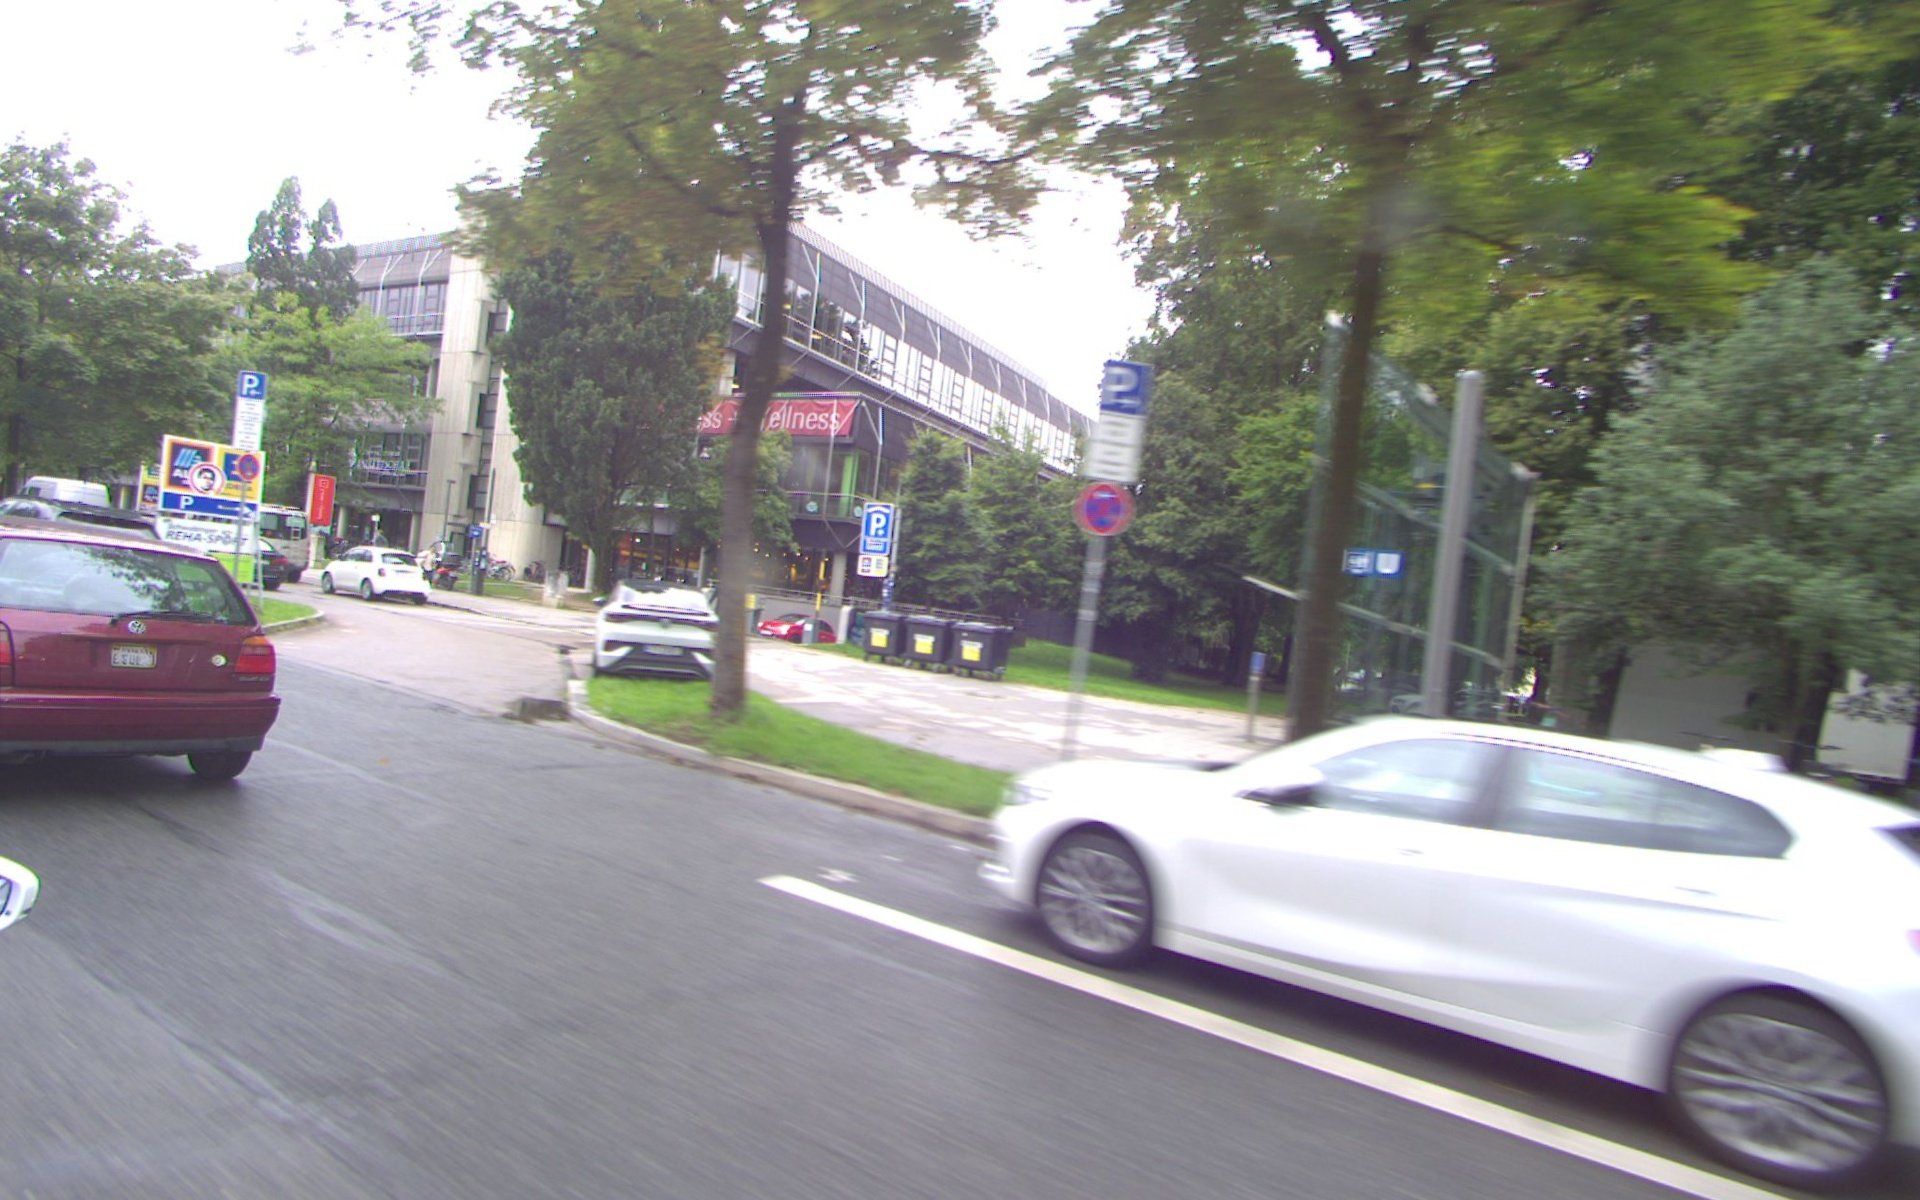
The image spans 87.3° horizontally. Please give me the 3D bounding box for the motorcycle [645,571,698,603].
[{"bbox_3d":[-13.710,-0.612,47.780,2.335,1.245,0.870,7,2,25],"label":"motorcycle"}]

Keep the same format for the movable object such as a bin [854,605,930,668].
[{"bbox_3d":[-1.750,0.940,25.990,1.292,1.426,1.338,7,0,30],"label":"movable object such as a bin"}]

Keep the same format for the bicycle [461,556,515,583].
[{"bbox_3d":[-21.266,-1.370,45.389,2.016,0.969,0.744,7,0,-15],"label":"bicycle"}]

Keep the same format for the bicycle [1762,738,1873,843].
[{"bbox_3d":[11.594,2.530,13.685,0.636,1.102,2.546,7,-1,31],"label":"bicycle"}]

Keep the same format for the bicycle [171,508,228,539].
[{"bbox_3d":[-47.138,-4.743,62.375,0.784,1.526,2.616,7,0,25],"label":"bicycle"}]

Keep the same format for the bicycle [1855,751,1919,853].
[{"bbox_3d":[12.484,2.636,13.133,0.636,1.102,2.546,7,-1,31],"label":"bicycle"}]

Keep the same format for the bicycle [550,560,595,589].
[{"bbox_3d":[-19.838,-1.285,51.538,0.577,1.219,2.141,7,-1,29],"label":"bicycle"}]

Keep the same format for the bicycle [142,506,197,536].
[{"bbox_3d":[-51.143,-5.078,65.146,0.784,1.526,2.616,7,0,25],"label":"bicycle"}]

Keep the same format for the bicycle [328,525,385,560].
[{"bbox_3d":[-32.224,-3.054,53.736,0.783,1.526,2.619,7,0,18],"label":"bicycle"}]

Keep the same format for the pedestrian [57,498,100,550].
[{"bbox_3d":[-35.230,-3.043,40.212,0.888,1.873,0.877,7,-1,31],"label":"pedestrian"}]

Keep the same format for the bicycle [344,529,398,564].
[{"bbox_3d":[-30.603,-2.749,52.309,0.783,1.526,2.620,7,0,10],"label":"bicycle"}]

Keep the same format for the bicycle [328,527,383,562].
[{"bbox_3d":[-31.513,-2.864,52.467,0.783,1.526,2.620,7,0,10],"label":"bicycle"}]

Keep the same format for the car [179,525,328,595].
[{"bbox_3d":[-20.472,-1.175,29.085,4.758,1.471,1.686,7,-1,32],"label":"car"}]

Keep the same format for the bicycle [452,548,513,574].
[{"bbox_3d":[-21.967,-1.781,46.315,2.366,0.880,0.769,7,0,-15],"label":"bicycle"}]

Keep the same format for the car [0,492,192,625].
[{"bbox_3d":[-13.728,-0.717,15.203,4.377,1.608,1.765,7,-1,31],"label":"car"}]

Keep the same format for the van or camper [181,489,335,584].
[{"bbox_3d":[-23.920,-2.185,34.214,5.858,2.589,1.996,7,0,32],"label":"van or camper"}]

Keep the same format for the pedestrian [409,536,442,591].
[{"bbox_3d":[-18.214,-1.242,34.269,0.720,1.773,0.575,7,0,36],"label":"pedestrian"}]

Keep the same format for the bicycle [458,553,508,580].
[{"bbox_3d":[-22.485,-1.569,47.459,2.020,0.969,0.743,7,0,-22],"label":"bicycle"}]

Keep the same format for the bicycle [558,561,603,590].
[{"bbox_3d":[-19.307,-1.221,51.235,0.577,1.219,2.141,7,-1,29],"label":"bicycle"}]

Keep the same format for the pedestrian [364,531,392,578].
[{"bbox_3d":[-23.351,-1.837,40.363,0.720,1.773,0.575,7,0,36],"label":"pedestrian"}]

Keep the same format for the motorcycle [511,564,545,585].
[{"bbox_3d":[-21.400,-1.271,49.859,1.545,0.876,0.851,7,0,39],"label":"motorcycle"}]

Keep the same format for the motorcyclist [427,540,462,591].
[{"bbox_3d":[-18.711,-1.251,36.498,0.937,1.762,0.690,7,5,32],"label":"motorcyclist"}]

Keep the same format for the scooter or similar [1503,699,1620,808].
[{"bbox_3d":[8.144,2.049,13.629,1.217,1.248,0.420,7,0,34],"label":"scooter or similar"}]

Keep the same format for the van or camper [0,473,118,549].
[{"bbox_3d":[-38.013,-3.786,42.369,5.858,2.589,2.026,7,0,32],"label":"van or camper"}]

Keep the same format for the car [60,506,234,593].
[{"bbox_3d":[-19.381,-1.219,23.960,3.931,1.505,1.768,7,-2,29],"label":"car"}]

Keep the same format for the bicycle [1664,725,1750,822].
[{"bbox_3d":[10.596,2.410,14.340,0.636,1.102,2.546,7,-1,31],"label":"bicycle"}]

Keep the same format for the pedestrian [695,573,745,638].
[{"bbox_3d":[-6.837,0.155,28.642,0.924,1.744,0.828,7,2,32],"label":"pedestrian"}]

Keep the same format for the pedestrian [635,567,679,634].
[{"bbox_3d":[-8.452,0.013,28.043,0.971,1.744,0.539,7,2,32],"label":"pedestrian"}]

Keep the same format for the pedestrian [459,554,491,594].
[{"bbox_3d":[-17.206,-0.925,35.681,0.687,1.308,0.731,6,2,36],"label":"pedestrian"}]

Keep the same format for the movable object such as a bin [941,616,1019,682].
[{"bbox_3d":[0.505,1.207,24.619,1.292,1.426,1.338,7,0,30],"label":"movable object such as a bin"}]

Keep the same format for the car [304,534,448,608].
[{"bbox_3d":[-17.369,-0.861,29.888,3.934,1.671,1.996,7,0,32],"label":"car"}]

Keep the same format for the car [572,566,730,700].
[{"bbox_3d":[-5.141,0.441,16.383,1.946,1.644,4.825,8,-1,-20],"label":"car"}]

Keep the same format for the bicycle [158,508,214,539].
[{"bbox_3d":[-48.671,-4.789,63.300,0.784,1.526,2.616,7,0,25],"label":"bicycle"}]

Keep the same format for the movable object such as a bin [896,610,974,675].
[{"bbox_3d":[-0.619,1.074,25.307,1.292,1.426,1.338,7,0,30],"label":"movable object such as a bin"}]

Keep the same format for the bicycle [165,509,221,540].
[{"bbox_3d":[-47.920,-4.708,62.884,0.784,1.526,2.616,7,0,25],"label":"bicycle"}]

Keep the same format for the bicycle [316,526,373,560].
[{"bbox_3d":[-33.043,-3.046,54.083,0.783,1.526,2.619,7,0,18],"label":"bicycle"}]

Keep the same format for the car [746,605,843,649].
[{"bbox_3d":[-5.835,0.986,35.732,1.534,1.165,3.449,7,-2,28],"label":"car"}]

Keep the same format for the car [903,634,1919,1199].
[{"bbox_3d":[2.067,1.188,4.941,4.408,1.451,1.656,7,-1,31],"label":"car"}]

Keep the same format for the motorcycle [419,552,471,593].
[{"bbox_3d":[-18.686,-1.011,36.496,2.032,1.309,0.695,7,4,32],"label":"motorcycle"}]

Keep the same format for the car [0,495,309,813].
[{"bbox_3d":[-5.845,0.103,6.041,3.884,1.471,1.625,7,-1,31],"label":"car"}]

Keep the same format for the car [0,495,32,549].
[{"bbox_3d":[-29.955,-2.539,30.323,3.941,1.497,1.751,7,-1,30],"label":"car"}]
